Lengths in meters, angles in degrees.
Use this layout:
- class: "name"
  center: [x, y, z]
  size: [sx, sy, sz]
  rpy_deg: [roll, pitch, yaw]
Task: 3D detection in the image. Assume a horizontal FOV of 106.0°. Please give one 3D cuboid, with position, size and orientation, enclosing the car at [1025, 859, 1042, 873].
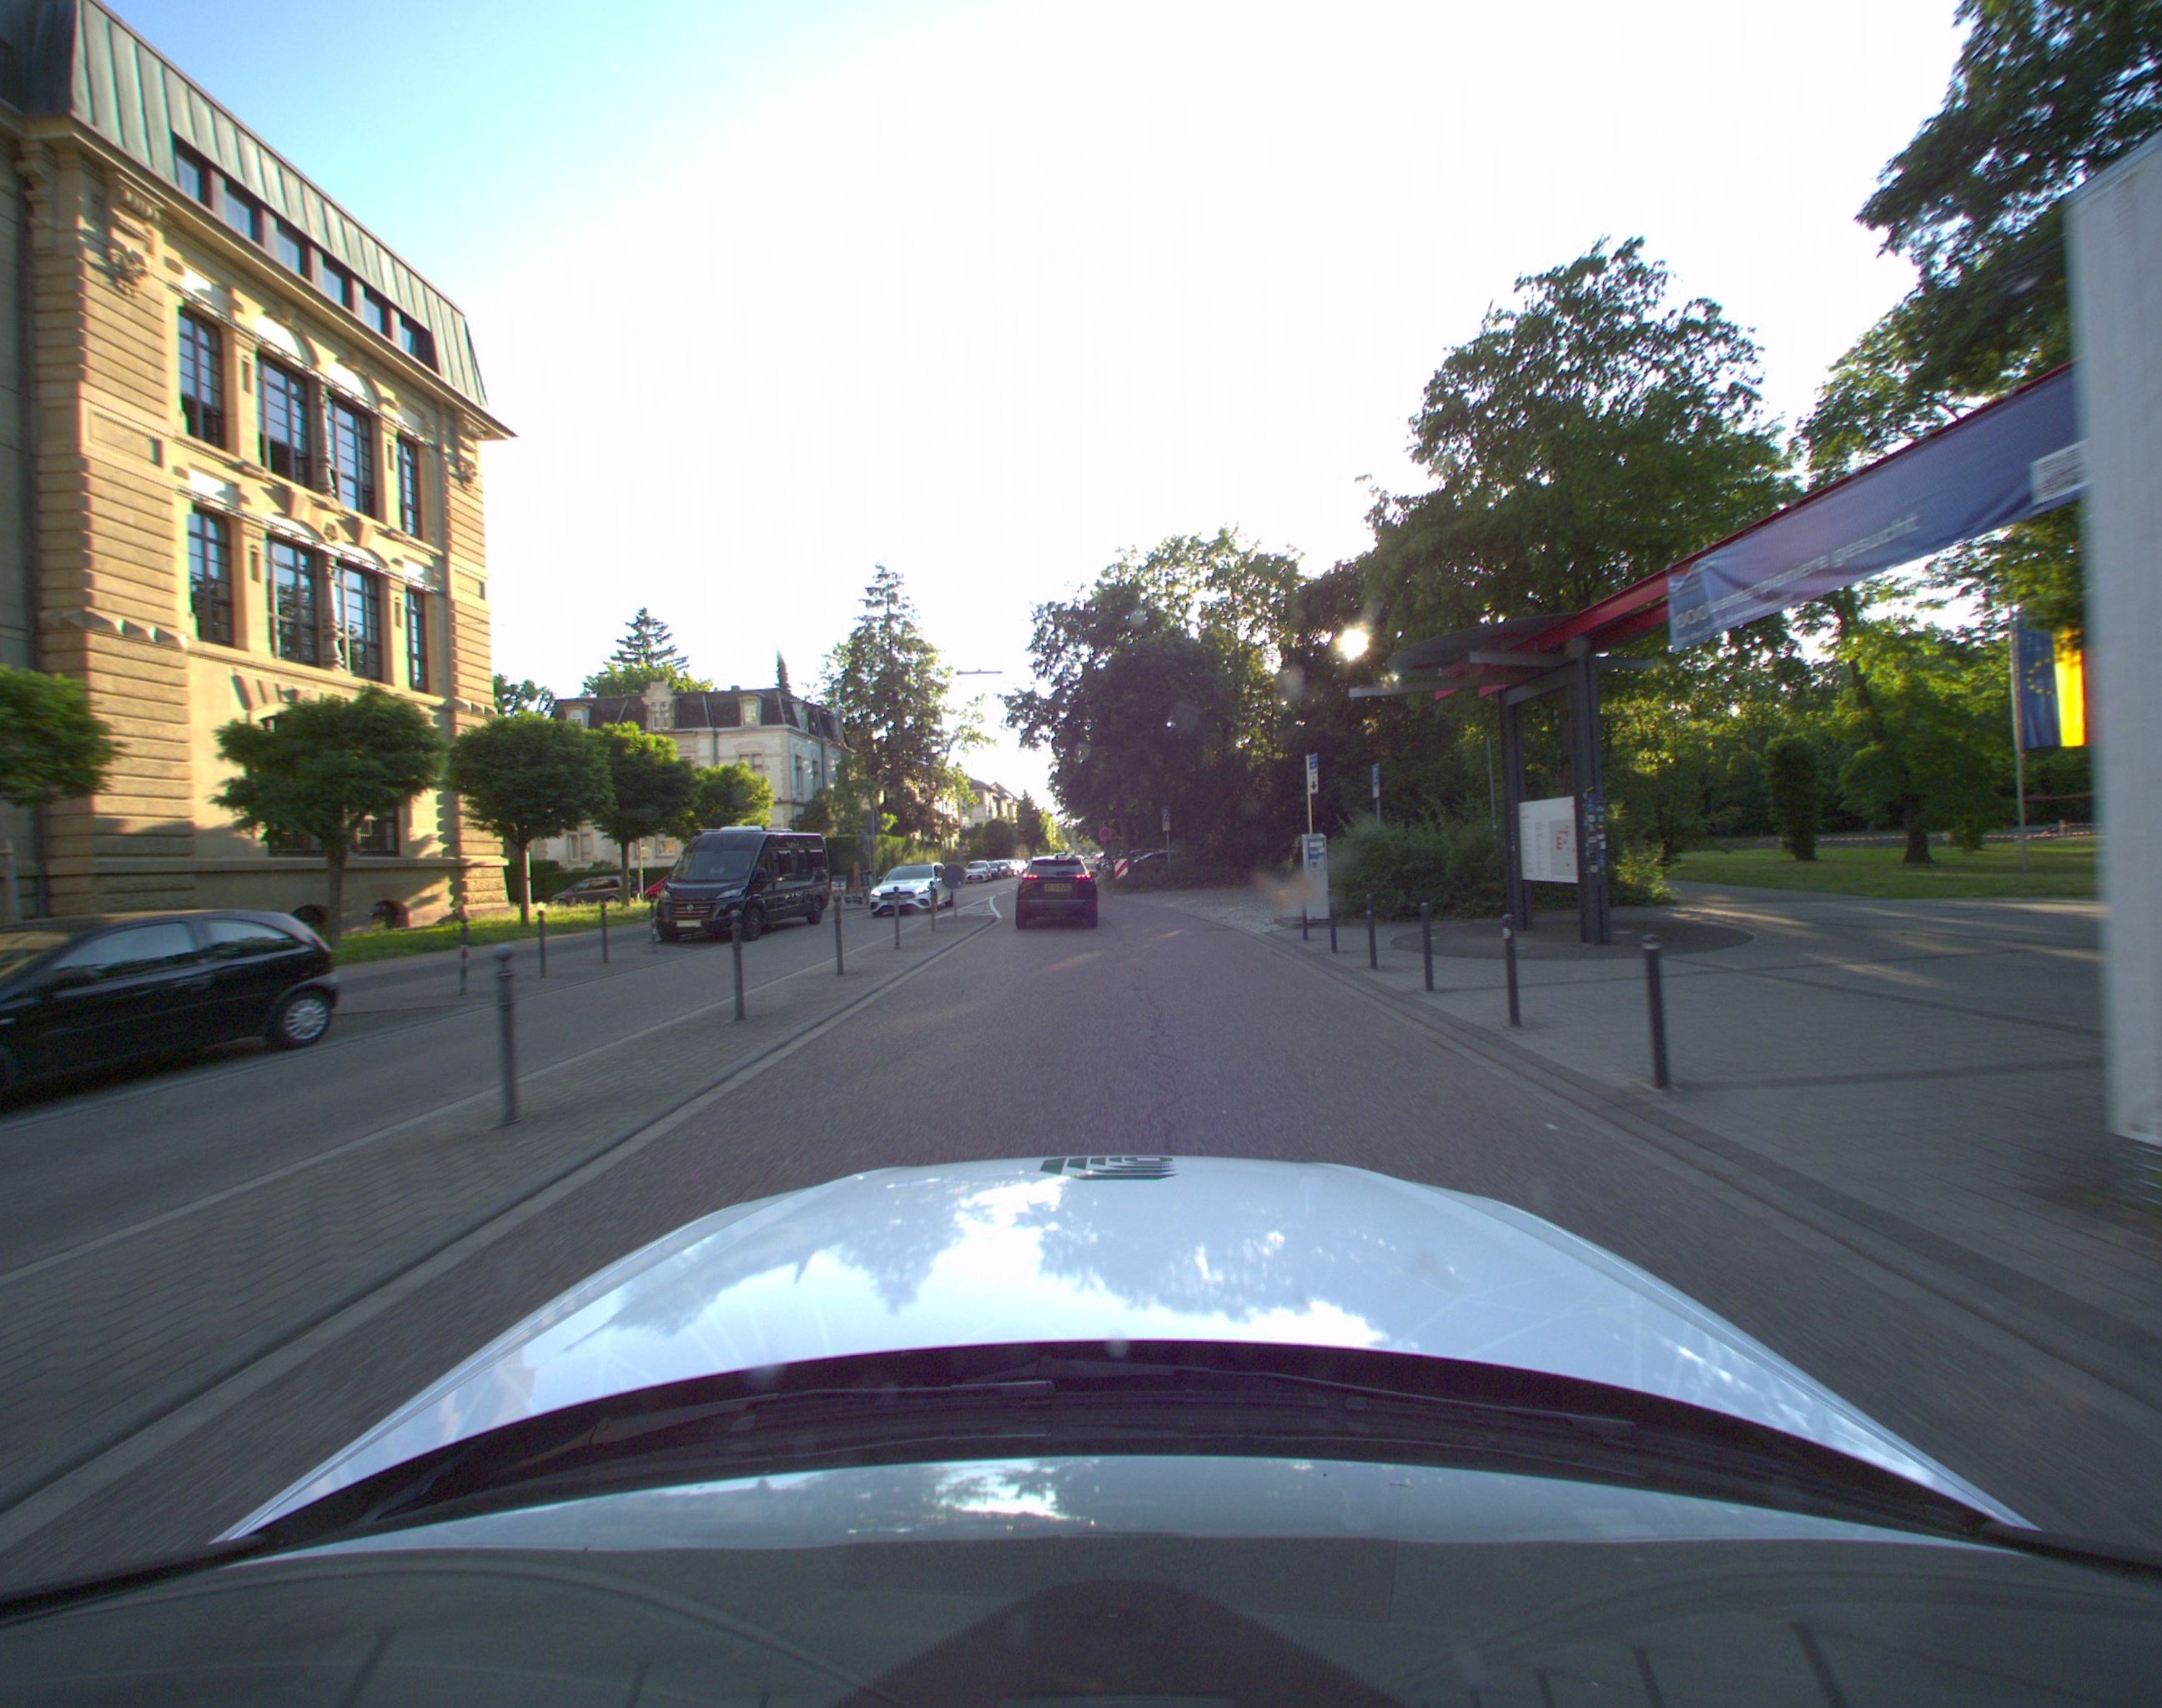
- class: "car"
  center: [-5.781, 1.438, 98.646]
  size: [1.747, 1.413, 3.763]
  rpy_deg: [-4, 0, 0]

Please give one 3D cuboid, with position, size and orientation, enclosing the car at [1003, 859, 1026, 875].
- class: "car"
  center: [-6.336, 1.236, 77.638]
  size: [1.607, 1.466, 4.037]
  rpy_deg: [-3, -1, 2]

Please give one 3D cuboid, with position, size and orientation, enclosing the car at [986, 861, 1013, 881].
- class: "car"
  center: [-6.626, 1.361, 66.389]
  size: [1.607, 1.466, 4.037]
  rpy_deg: [-3, -1, 2]

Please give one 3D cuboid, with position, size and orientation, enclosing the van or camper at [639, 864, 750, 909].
- class: "van or camper"
  center: [-20.356, 1.692, 43.016]
  size: [4.748, 1.985, 2.003]
  rpy_deg: [-3, 4, 3]

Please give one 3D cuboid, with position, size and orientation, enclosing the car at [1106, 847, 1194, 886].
- class: "car"
  center: [3.189, 0.545, 38.122]
  size: [3.973, 1.554, 1.726]
  rpy_deg: [-3, 1, 1]

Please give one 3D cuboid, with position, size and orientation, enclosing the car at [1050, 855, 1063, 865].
- class: "car"
  center: [-4.304, 1.054, 143.952]
  size: [1.893, 1.574, 4.001]
  rpy_deg: [-2, 0, 1]

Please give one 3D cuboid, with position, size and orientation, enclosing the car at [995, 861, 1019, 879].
- class: "car"
  center: [-6.532, 1.393, 72.164]
  size: [1.607, 1.466, 4.037]
  rpy_deg: [-3, -1, 2]

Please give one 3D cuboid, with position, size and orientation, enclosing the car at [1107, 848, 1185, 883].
- class: "car"
  center: [3.423, 0.585, 43.221]
  size: [3.973, 1.554, 1.753]
  rpy_deg: [-3, 1, 1]

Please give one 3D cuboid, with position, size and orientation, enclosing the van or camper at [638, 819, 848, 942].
- class: "van or camper"
  center: [-8.136, 0.586, 20.702]
  size: [2.222, 2.544, 7.081]
  rpy_deg: [-1, -1, 1]

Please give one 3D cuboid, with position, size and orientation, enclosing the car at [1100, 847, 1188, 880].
- class: "car"
  center: [3.496, 0.516, 45.355]
  size: [4.495, 1.554, 1.846]
  rpy_deg: [-3, 1, -17]

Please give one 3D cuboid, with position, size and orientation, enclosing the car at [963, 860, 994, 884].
- class: "car"
  center: [-7.005, 1.228, 56.002]
  size: [1.609, 1.515, 3.711]
  rpy_deg: [-4, -1, 0]

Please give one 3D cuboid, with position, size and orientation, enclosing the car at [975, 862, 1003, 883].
- class: "car"
  center: [-6.934, 1.391, 61.617]
  size: [1.608, 1.485, 3.742]
  rpy_deg: [-3, -1, 1]

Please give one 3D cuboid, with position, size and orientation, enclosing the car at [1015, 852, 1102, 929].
- class: "car"
  center: [-0.419, 0.753, 18.895]
  size: [1.765, 1.568, 4.110]
  rpy_deg: [0, 0, 2]

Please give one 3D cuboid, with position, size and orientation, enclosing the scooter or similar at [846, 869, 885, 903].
- class: "scooter or similar"
  center: [-8.411, 1.234, 31.799]
  size: [1.349, 1.275, 0.427]
  rpy_deg: [-2, -1, -34]

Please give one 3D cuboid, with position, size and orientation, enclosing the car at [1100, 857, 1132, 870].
- class: "car"
  center: [4.539, 1.228, 105.849]
  size: [3.979, 1.526, 1.755]
  rpy_deg: [-2, -1, -4]

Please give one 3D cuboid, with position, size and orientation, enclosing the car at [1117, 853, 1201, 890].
- class: "car"
  center: [3.835, 0.867, 40.332]
  size: [3.973, 1.554, 1.726]
  rpy_deg: [-3, 1, 1]

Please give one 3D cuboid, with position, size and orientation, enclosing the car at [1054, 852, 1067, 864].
- class: "car"
  center: [-3.891, 0.749, 154.612]
  size: [1.985, 2.014, 4.002]
  rpy_deg: [-2, -1, 2]

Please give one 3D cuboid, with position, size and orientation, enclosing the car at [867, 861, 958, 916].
- class: "car"
  center: [-5.113, 1.000, 25.362]
  size: [1.735, 1.458, 4.624]
  rpy_deg: [-3, -1, 1]

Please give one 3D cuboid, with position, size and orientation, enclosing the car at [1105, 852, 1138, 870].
- class: "car"
  center: [5.066, 0.851, 103.077]
  size: [3.979, 2.089, 1.755]
  rpy_deg: [-2, -1, -4]

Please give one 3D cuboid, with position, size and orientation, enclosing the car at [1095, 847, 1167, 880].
- class: "car"
  center: [3.110, 0.594, 51.361]
  size: [4.293, 1.804, 2.035]
  rpy_deg: [-4, -1, 0]

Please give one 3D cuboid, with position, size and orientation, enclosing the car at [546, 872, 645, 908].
- class: "car"
  center: [-25.543, 1.884, 42.954]
  size: [3.975, 1.673, 1.919]
  rpy_deg: [-2, 0, -1]

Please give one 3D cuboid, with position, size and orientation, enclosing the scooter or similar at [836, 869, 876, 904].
- class: "scooter or similar"
  center: [-8.593, 1.237, 31.114]
  size: [1.349, 1.275, 0.427]
  rpy_deg: [-2, -1, -34]

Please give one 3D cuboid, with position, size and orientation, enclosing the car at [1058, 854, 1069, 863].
- class: "car"
  center: [-3.636, 0.938, 166.483]
  size: [1.986, 1.768, 4.000]
  rpy_deg: [-2, 0, 1]

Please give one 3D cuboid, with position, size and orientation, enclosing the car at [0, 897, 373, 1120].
- class: "car"
  center: [-8.589, 1.197, 6.887]
  size: [1.689, 1.470, 3.857]
  rpy_deg: [0, 0, 3]

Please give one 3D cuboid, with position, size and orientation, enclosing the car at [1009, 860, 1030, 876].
- class: "car"
  center: [-6.198, 1.392, 82.358]
  size: [1.607, 1.466, 4.037]
  rpy_deg: [-3, -1, 2]

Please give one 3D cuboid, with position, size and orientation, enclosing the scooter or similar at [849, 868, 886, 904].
- class: "scooter or similar"
  center: [-8.045, 1.189, 30.737]
  size: [0.426, 1.275, 1.353]
  rpy_deg: [-3, -1, 37]
